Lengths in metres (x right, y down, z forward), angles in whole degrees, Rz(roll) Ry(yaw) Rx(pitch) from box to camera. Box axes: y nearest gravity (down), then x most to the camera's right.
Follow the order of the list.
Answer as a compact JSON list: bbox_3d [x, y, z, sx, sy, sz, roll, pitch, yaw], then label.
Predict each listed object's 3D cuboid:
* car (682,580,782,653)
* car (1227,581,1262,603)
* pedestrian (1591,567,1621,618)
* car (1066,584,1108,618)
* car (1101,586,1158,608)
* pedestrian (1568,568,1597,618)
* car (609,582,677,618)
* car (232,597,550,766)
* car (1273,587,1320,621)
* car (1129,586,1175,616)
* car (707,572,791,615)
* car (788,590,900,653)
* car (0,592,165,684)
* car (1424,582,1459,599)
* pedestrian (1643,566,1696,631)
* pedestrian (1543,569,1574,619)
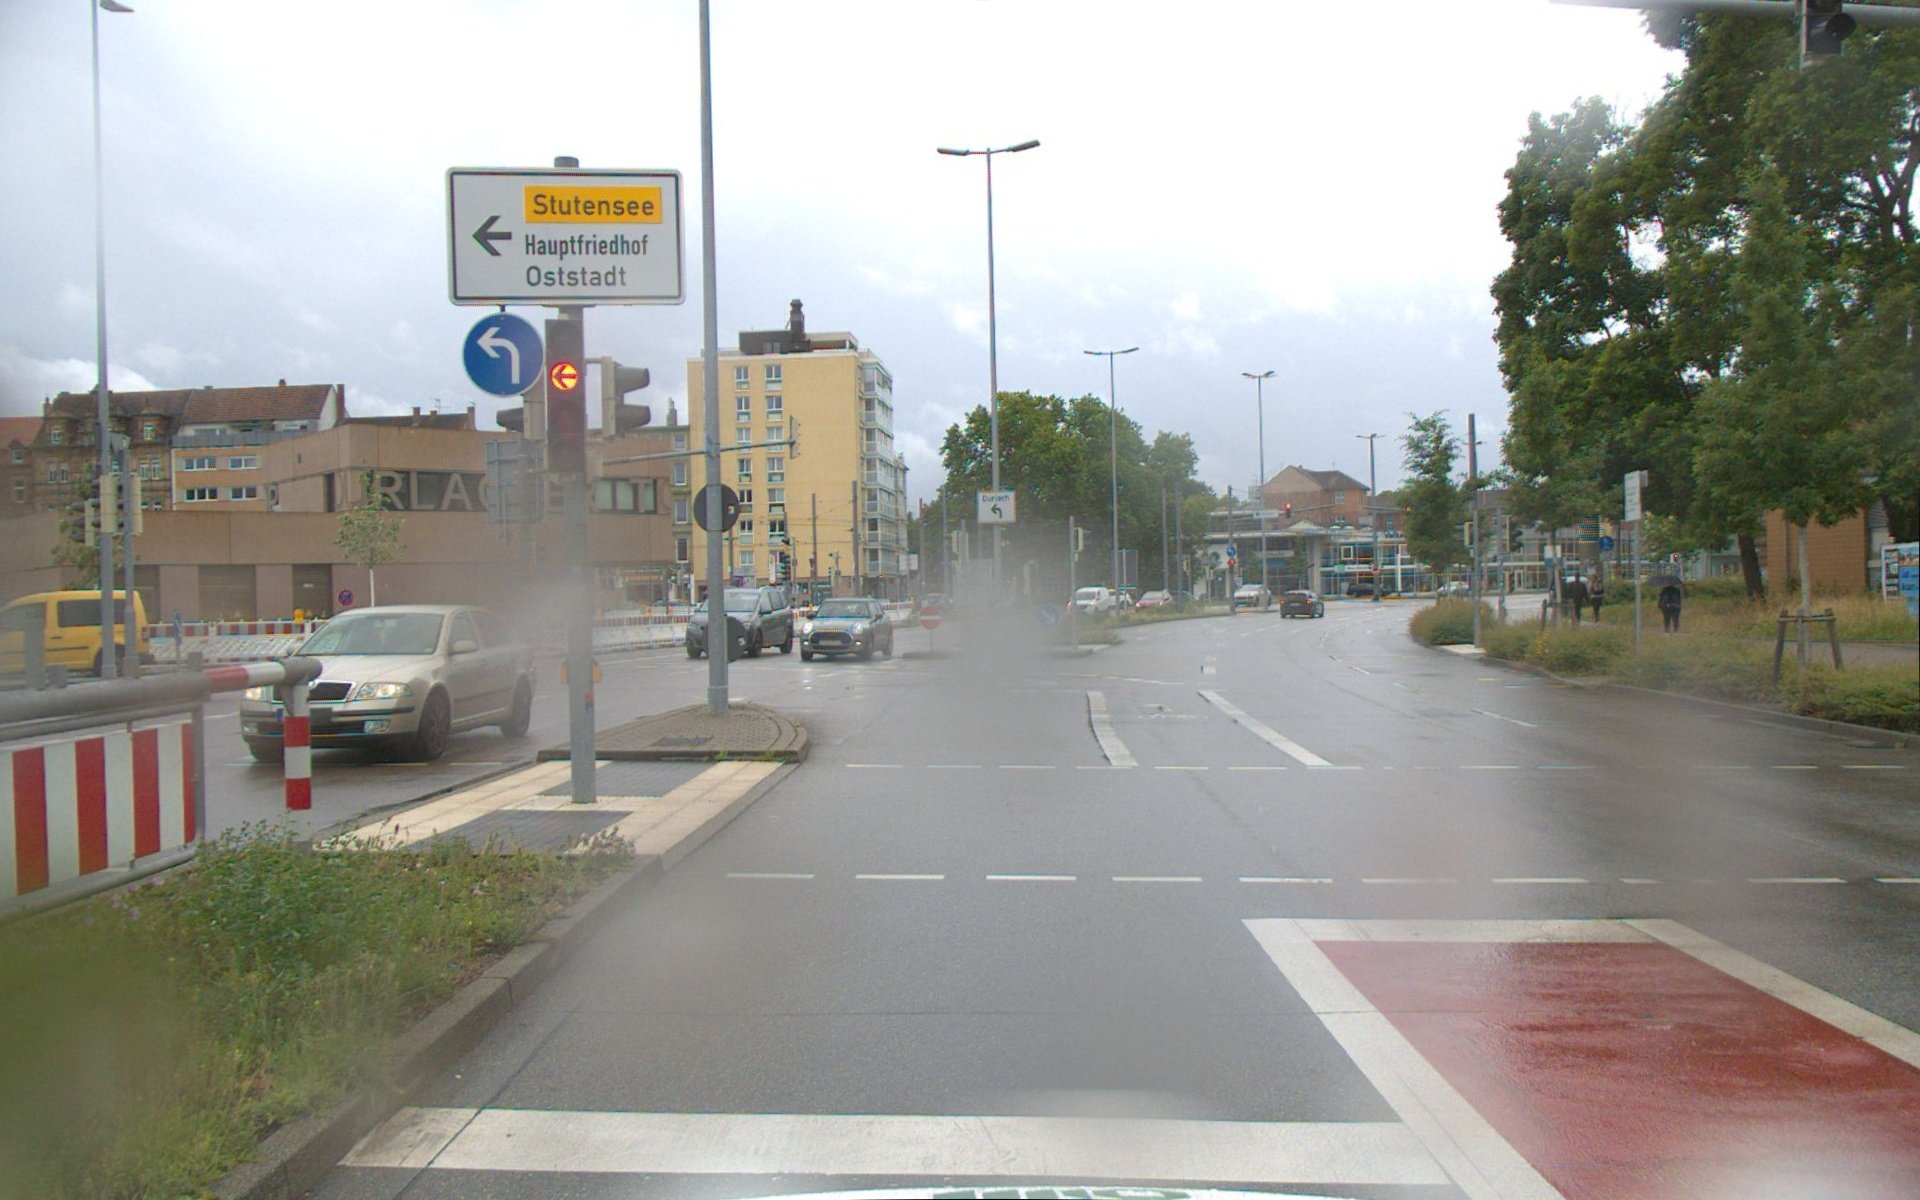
[{"bbox_3d":[-5.731,0.389,42.113,1.735,1.708,4.770,-1,0,1],"label":"car"},{"bbox_3d":[22.377,-0.651,130.146,1.754,1.672,4.158,-1,0,23],"label":"car"},{"bbox_3d":[20.976,-0.239,53.722,0.688,1.615,0.937,-1,0,9],"label":"pedestrian"},{"bbox_3d":[7.553,0.046,98.091,1.752,1.890,4.163,-1,0,15],"label":"car"},{"bbox_3d":[13.717,-0.259,133.768,4.332,1.672,1.779,-2,0,-28],"label":"car"},{"bbox_3d":[20.308,-0.222,53.975,0.688,1.615,0.937,-1,0,9],"label":"pedestrian"},{"bbox_3d":[-27.174,0.002,141.693,5.239,2.937,2.340,-2,0,2],"label":"car"},{"bbox_3d":[-5.567,0.719,16.760,1.659,1.440,4.184,-2,0,1],"label":"car"},{"bbox_3d":[17.739,0.187,87.094,1.753,1.672,4.160,-1,0,21],"label":"car"},{"bbox_3d":[11.509,0.042,99.047,1.753,1.672,4.046,-1,0,22],"label":"car"},{"bbox_3d":[-17.992,-0.554,141.199,6.601,3.439,2.810,-2,0,2],"label":"car"},{"bbox_3d":[-2.767,0.482,40.322,1.734,1.400,4.124,-1,0,10],"label":"car"},{"bbox_3d":[-18.504,0.766,33.519,4.104,1.735,1.690,-2,0,-35],"label":"car"},{"bbox_3d":[48.833,-0.959,167.714,1.765,1.672,4.131,-1,0,44],"label":"car"},{"bbox_3d":[18.004,-0.033,41.995,1.000,1.615,0.937,-1,0,9],"label":"pedestrian"},{"bbox_3d":[19.645,-0.203,54.301,0.737,1.615,0.937,-1,0,9],"label":"pedestrian"}]
